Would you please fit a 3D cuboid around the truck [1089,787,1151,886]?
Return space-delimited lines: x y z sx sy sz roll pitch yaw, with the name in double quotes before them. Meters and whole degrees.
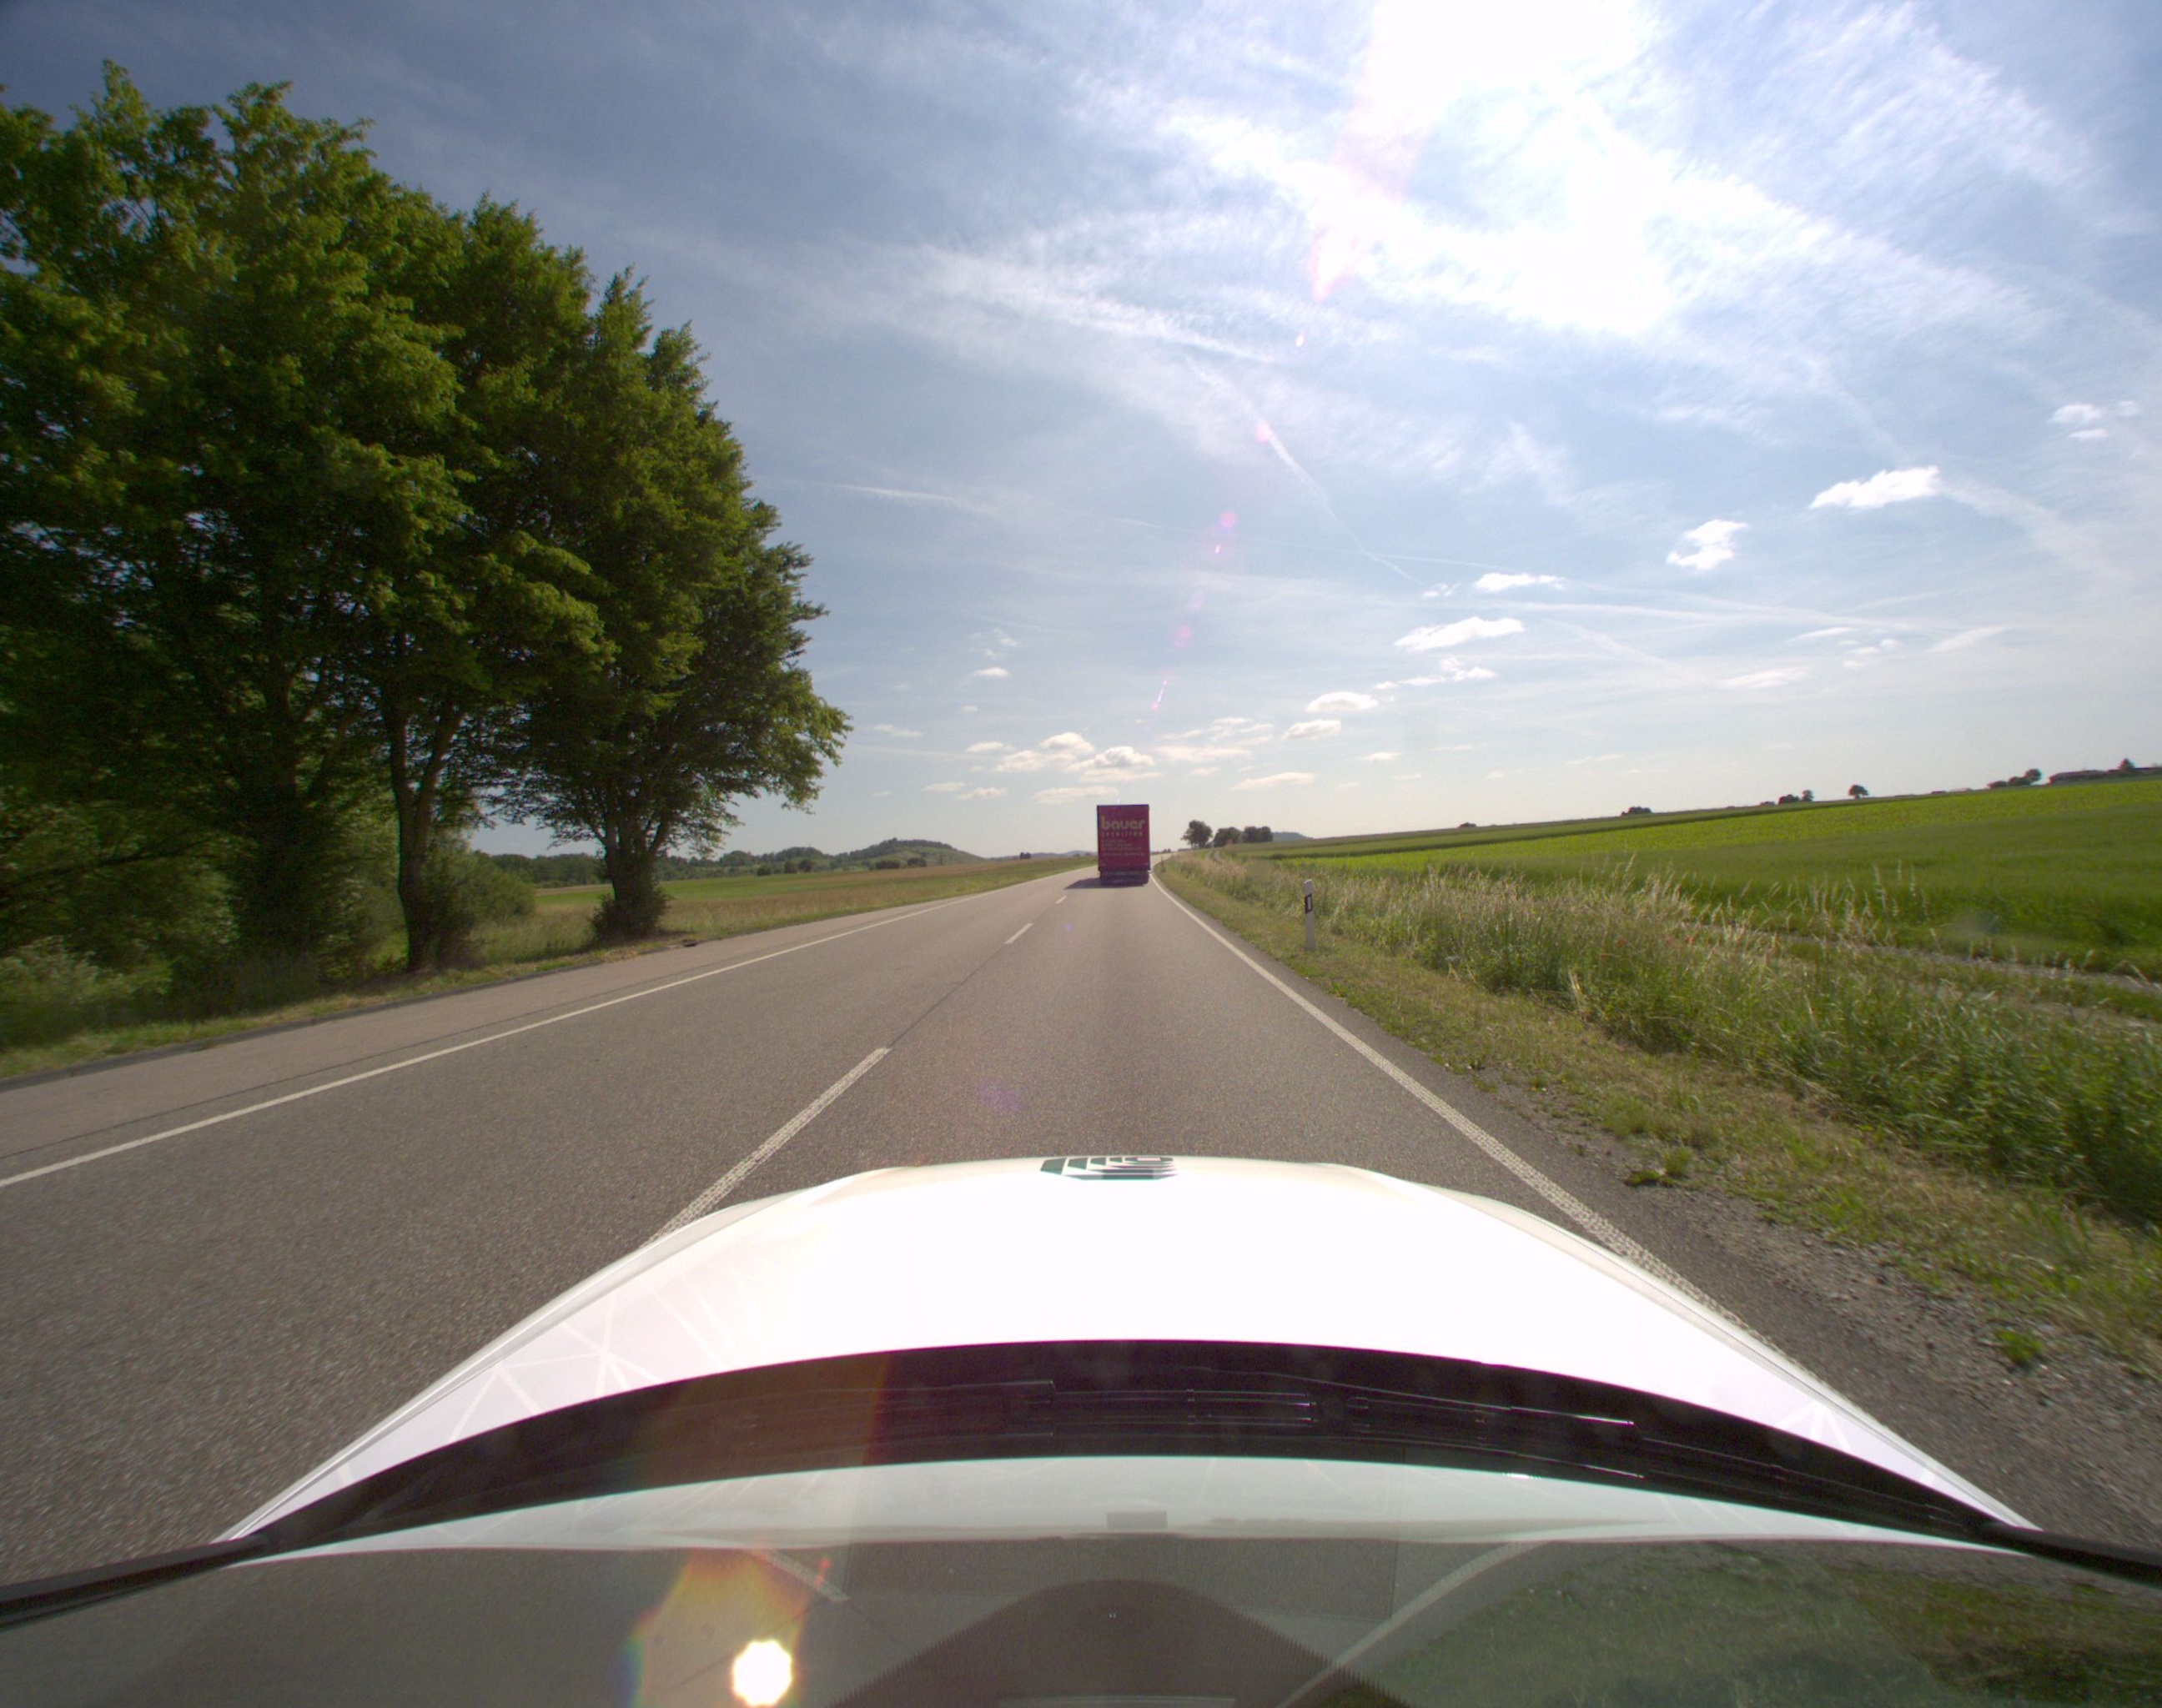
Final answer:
"truck" 2.037 -0.835 43.692 2.964 4.713 9.370 0 0 2
